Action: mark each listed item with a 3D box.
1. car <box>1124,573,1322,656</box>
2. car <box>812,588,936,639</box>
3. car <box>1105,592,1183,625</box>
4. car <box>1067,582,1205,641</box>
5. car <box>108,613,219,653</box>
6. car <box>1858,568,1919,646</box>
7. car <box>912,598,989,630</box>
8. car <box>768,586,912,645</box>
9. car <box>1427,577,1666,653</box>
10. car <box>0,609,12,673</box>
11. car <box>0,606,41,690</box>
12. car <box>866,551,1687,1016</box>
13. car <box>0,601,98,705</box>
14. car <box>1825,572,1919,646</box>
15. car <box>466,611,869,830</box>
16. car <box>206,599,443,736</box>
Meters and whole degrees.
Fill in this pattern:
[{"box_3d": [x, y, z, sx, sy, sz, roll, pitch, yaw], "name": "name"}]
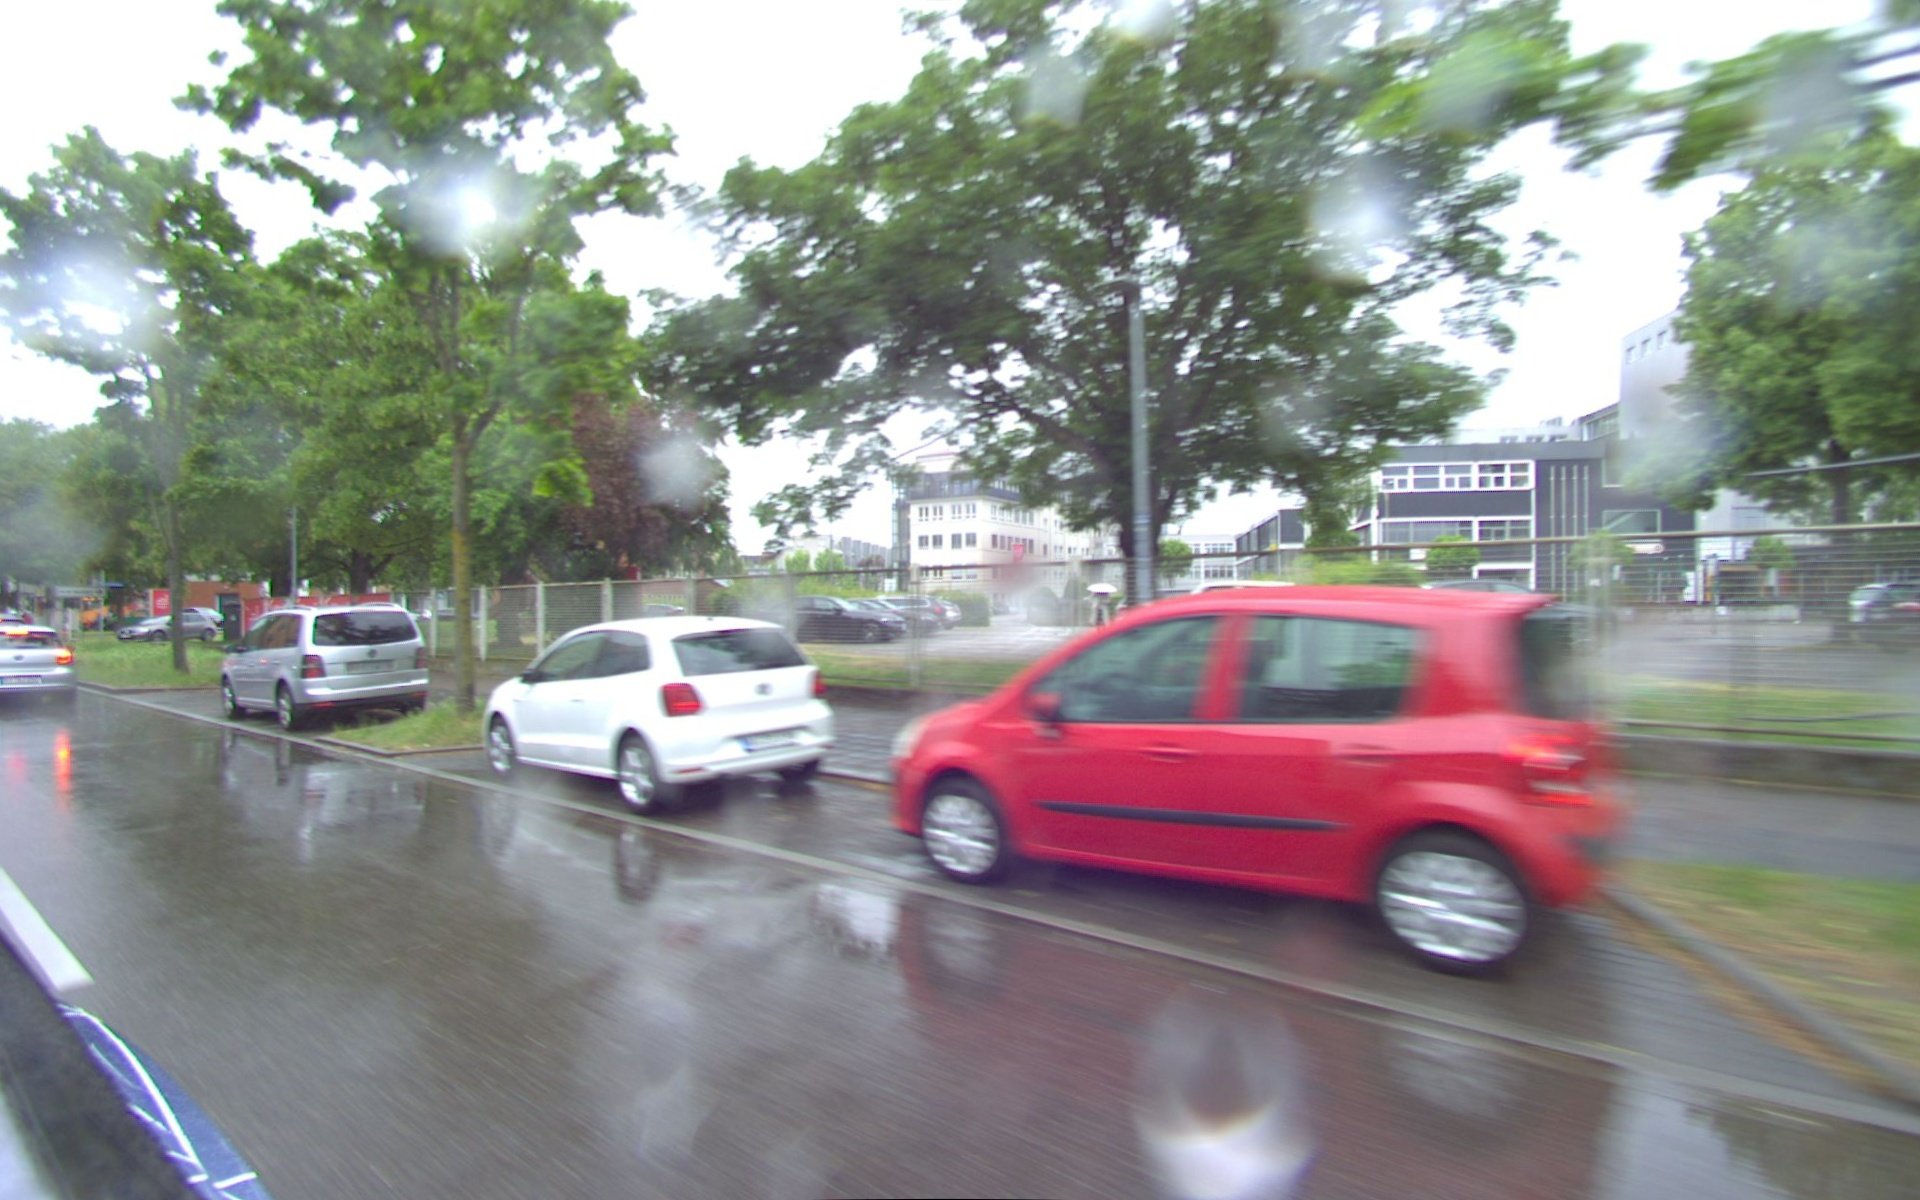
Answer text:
[{"box_3d": [5.594, 0.308, 22.033, 3.954, 1.683, 2.061, -1, 0, 9], "name": "car"}, {"box_3d": [-2.935, 0.457, 34.890, 3.954, 1.683, 1.766, -1, 0, 9], "name": "car"}, {"box_3d": [9.783, 0.467, 54.079, 3.954, 1.683, 2.061, -1, 0, 9], "name": "car"}, {"box_3d": [5.290, 0.350, 30.656, 3.954, 1.683, 2.061, -1, 0, 9], "name": "car"}, {"box_3d": [-37.728, 1.537, 48.069, 1.975, 1.775, 3.993, -1, 0, 5], "name": "car"}, {"box_3d": [20.589, 0.102, 19.917, 3.961, 1.506, 1.752, -1, 0, 14], "name": "car"}, {"box_3d": [-0.507, 0.768, 55.579, 3.954, 1.683, 1.766, -1, 0, 9], "name": "car"}, {"box_3d": [-3.566, 0.466, 30.378, 3.954, 1.683, 1.766, -1, 0, 9], "name": "car"}, {"box_3d": [12.160, 0.322, 21.267, 3.961, 1.506, 1.752, -1, 0, 14], "name": "car"}, {"box_3d": [-27.350, 1.104, 27.422, 4.173, 1.686, 2.044, -1, 0, 42], "name": "car"}, {"box_3d": [-22.149, 1.043, 22.554, 4.173, 1.755, 2.044, -1, 0, 42], "name": "car"}, {"box_3d": [1.456, 0.650, 5.306, 3.792, 1.610, 1.609, -1, 0, 37], "name": "car"}, {"box_3d": [-17.624, 0.923, 18.738, 4.174, 1.755, 2.043, -1, 0, 43], "name": "car"}, {"box_3d": [28.431, 0.233, 29.265, 4.670, 2.088, 2.142, -1, 0, 12], "name": "car"}, {"box_3d": [-2.668, 0.849, 8.792, 3.718, 1.465, 1.672, -1, 0, 43], "name": "car"}, {"box_3d": [-9.287, 0.856, 14.659, 4.036, 1.695, 1.857, -1, 0, 42], "name": "car"}]
